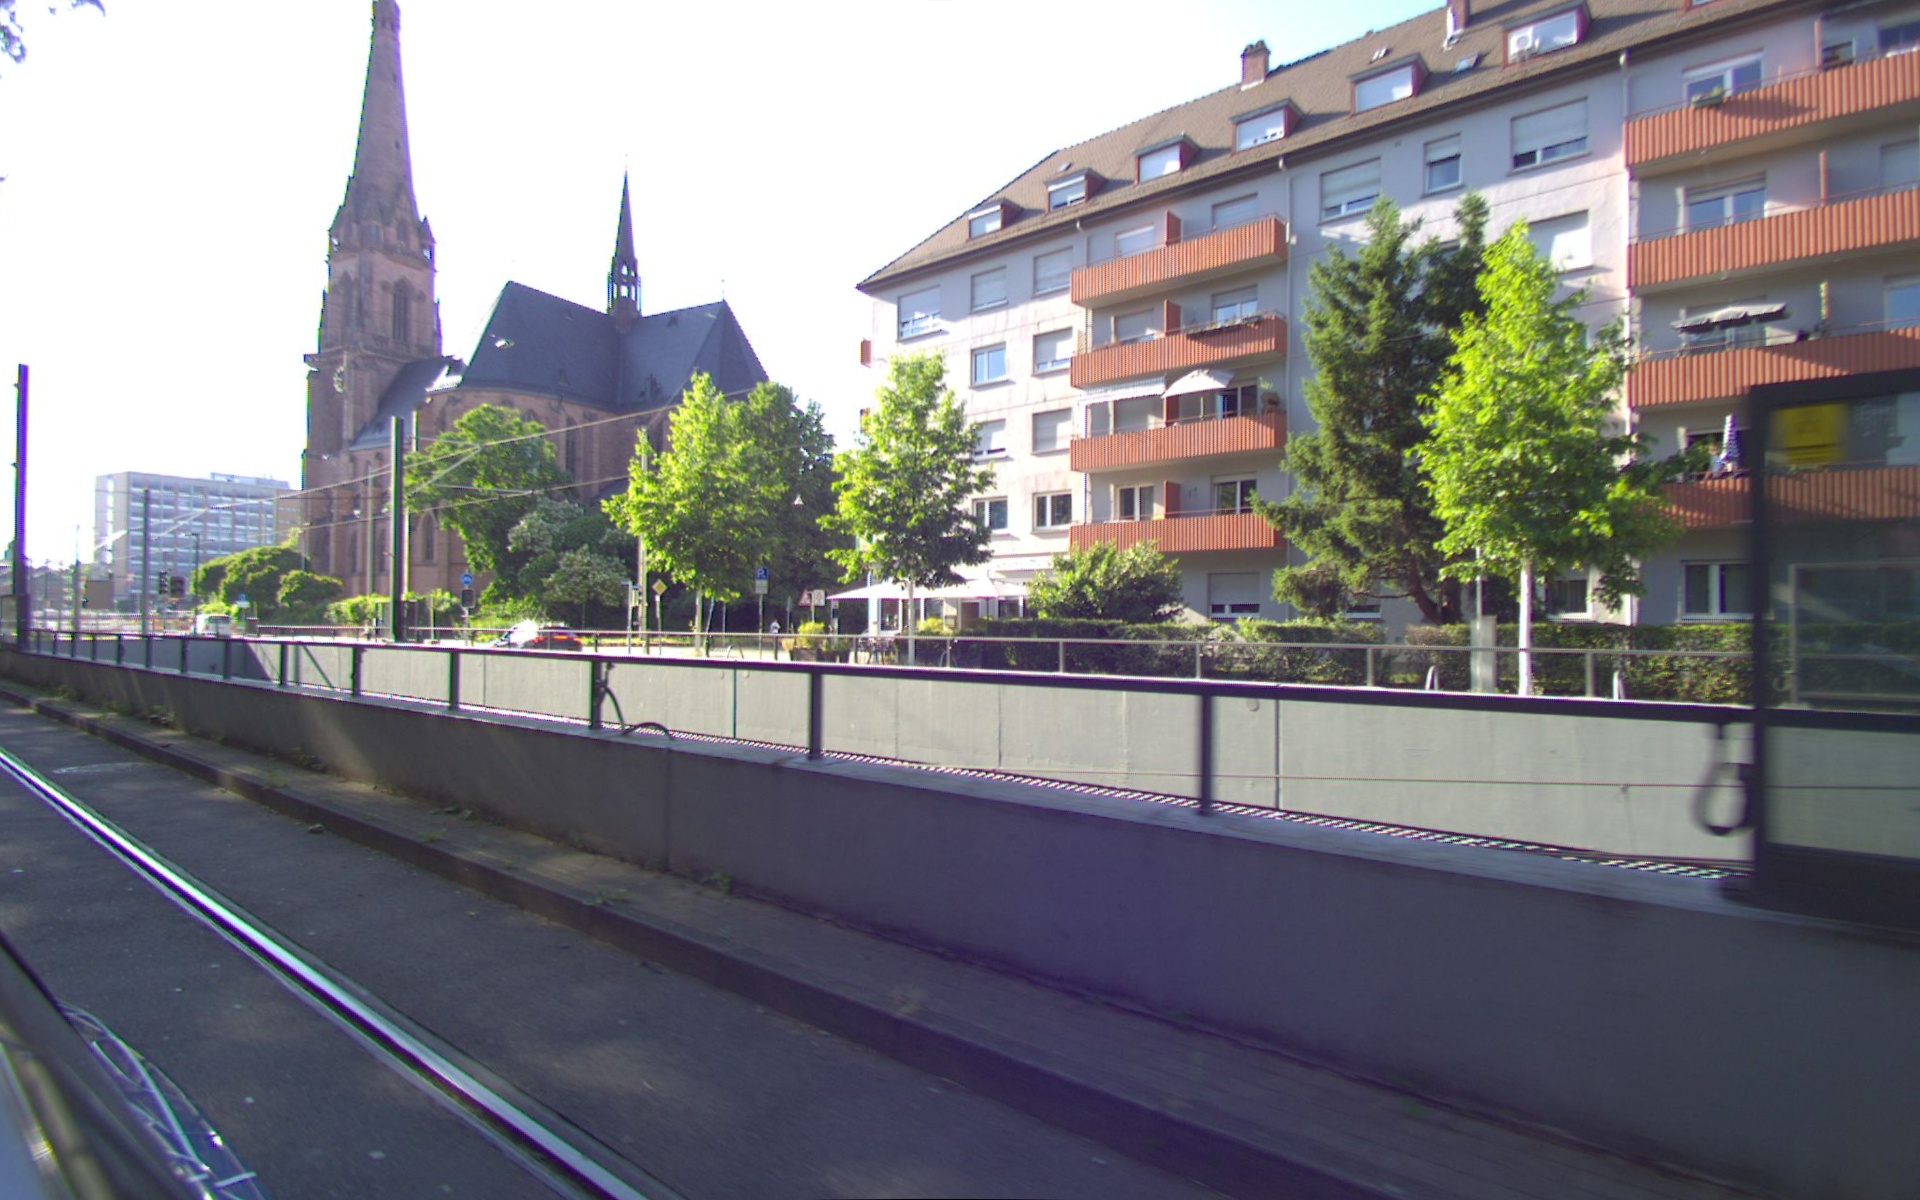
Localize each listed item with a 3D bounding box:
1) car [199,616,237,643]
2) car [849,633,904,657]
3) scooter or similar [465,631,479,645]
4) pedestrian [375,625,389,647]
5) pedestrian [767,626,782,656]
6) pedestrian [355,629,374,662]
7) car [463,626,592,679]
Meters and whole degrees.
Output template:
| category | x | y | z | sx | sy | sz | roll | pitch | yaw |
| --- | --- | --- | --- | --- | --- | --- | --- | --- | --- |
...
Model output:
| category | x | y | z | sx | sy | sz | roll | pitch | yaw |
| --- | --- | --- | --- | --- | --- | --- | --- | --- | --- |
| car | -58.081 | 2.287 | 79.168 | 1.968 | 2.029 | 5.020 | 4 | -4 | -40 |
| car | -5.294 | 2.848 | 64.660 | 1.693 | 1.431 | 3.636 | -2 | -1 | 31 |
| scooter or similar | -33.280 | 2.566 | 69.003 | 0.913 | 0.943 | 0.306 | -2 | 0 | 20 |
| pedestrian | -41.355 | 2.560 | 72.402 | 0.945 | 1.500 | 0.580 | -2 | 0 | 38 |
| pedestrian | -10.600 | 2.342 | 57.738 | 0.719 | 1.668 | 0.505 | -2 | -3 | 39 |
| pedestrian | -30.809 | 2.367 | 52.369 | 0.751 | 1.686 | 0.490 | -2 | 0 | 26 |
| car | -13.979 | 1.635 | 32.611 | 4.402 | 1.516 | 1.952 | -1 | 0 | 38 |
